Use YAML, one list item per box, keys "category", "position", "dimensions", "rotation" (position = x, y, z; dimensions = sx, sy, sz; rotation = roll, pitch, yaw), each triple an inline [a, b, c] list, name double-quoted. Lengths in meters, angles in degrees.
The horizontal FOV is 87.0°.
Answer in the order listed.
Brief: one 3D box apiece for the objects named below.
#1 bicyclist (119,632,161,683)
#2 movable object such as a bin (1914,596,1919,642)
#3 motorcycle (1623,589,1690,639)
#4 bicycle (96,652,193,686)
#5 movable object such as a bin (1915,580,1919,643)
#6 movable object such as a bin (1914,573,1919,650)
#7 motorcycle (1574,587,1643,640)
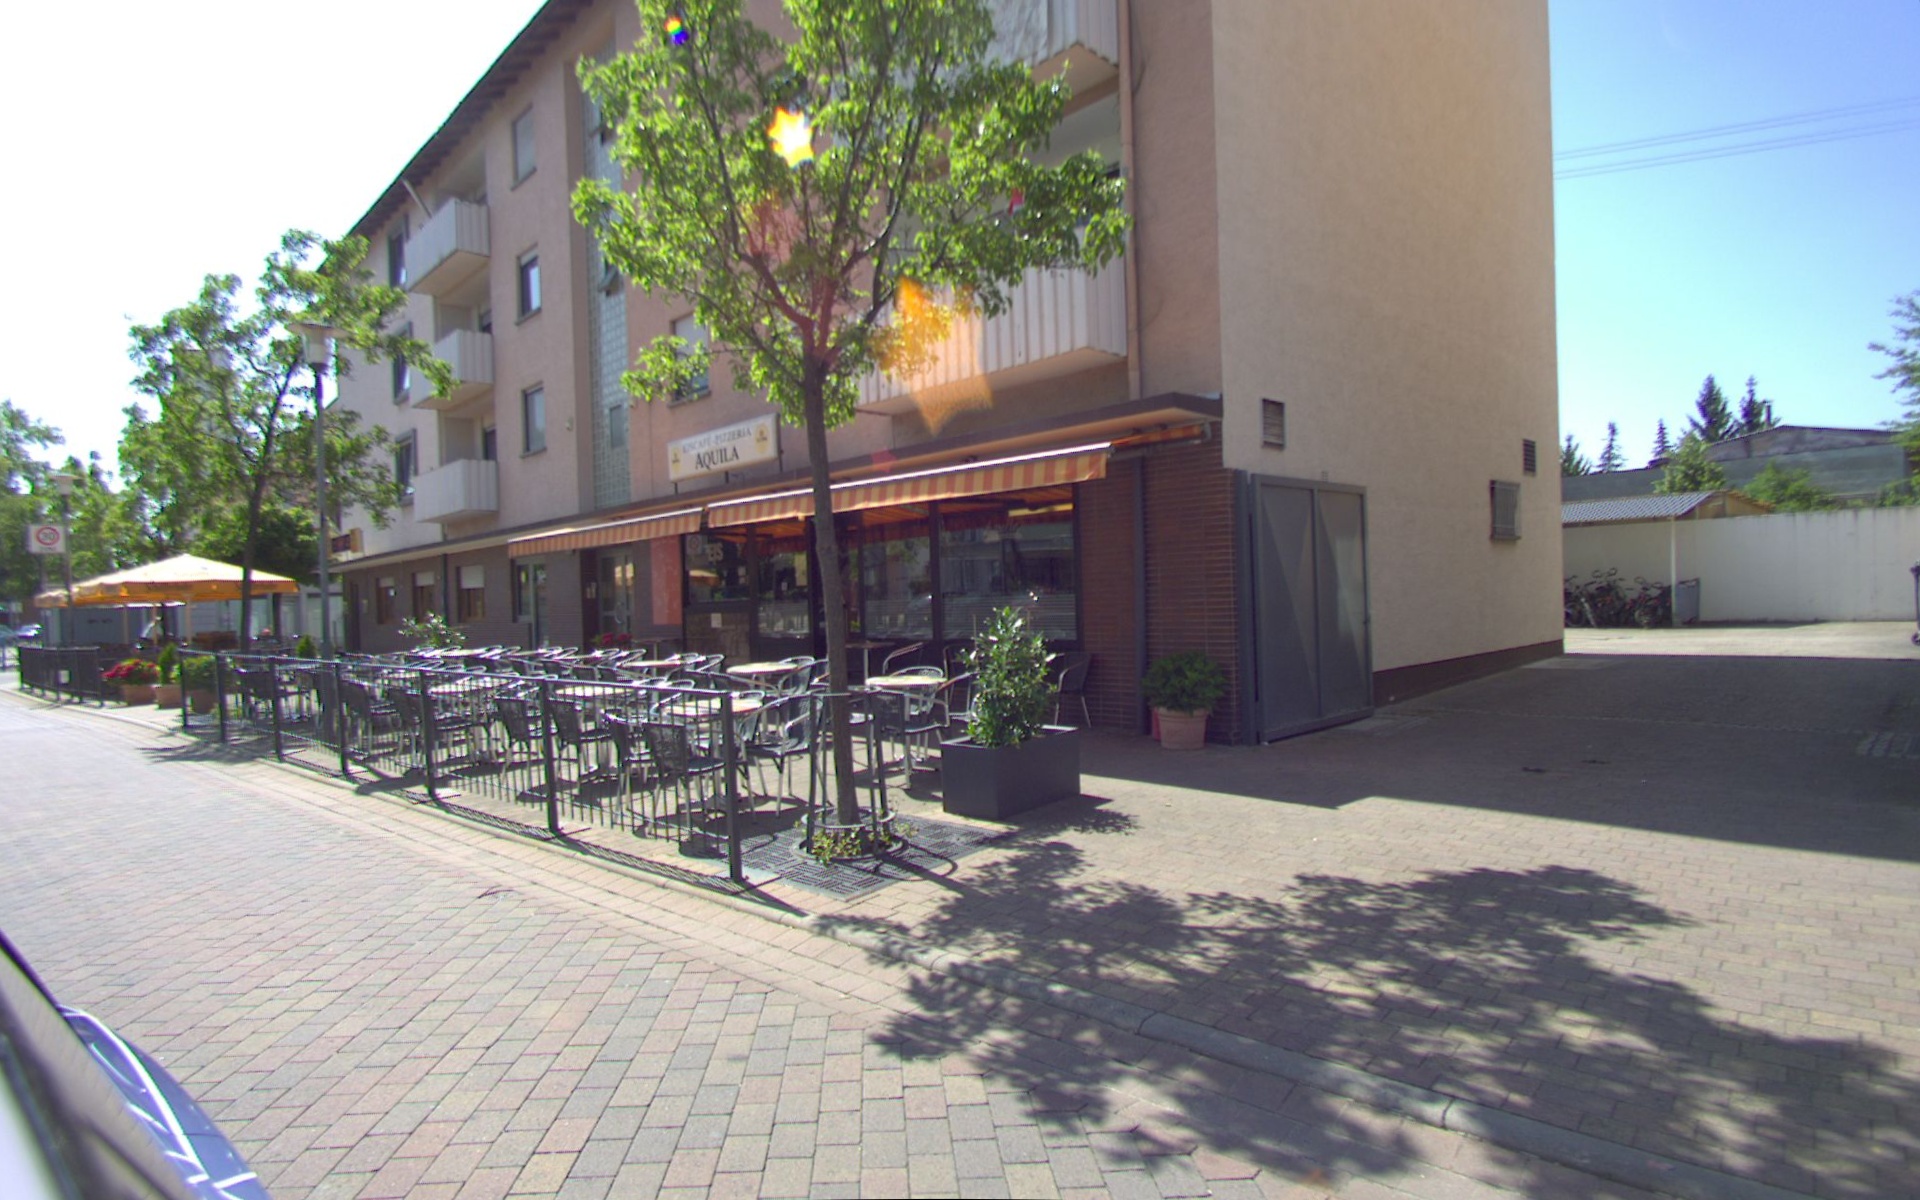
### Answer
- category: "bicyclist"
  position: [-26.494, 1.858, 32.699]
  dimensions: [0.786, 1.589, 0.850]
  rotation: [-2, 0, 35]
- category: "movable object such as a bin"
  position: [19.124, 0.369, 19.777]
  dimensions: [0.561, 0.883, 0.623]
  rotation: [-1, 0, -41]
- category: "motorcycle"
  position: [16.608, 0.318, 24.106]
  dimensions: [2.187, 1.117, 0.810]
  rotation: [-2, 0, -42]
- category: "bicycle"
  position: [-26.402, 2.216, 32.798]
  dimensions: [0.773, 0.932, 2.315]
  rotation: [-2, 0, 36]
- category: "movable object such as a bin"
  position: [18.406, 0.207, 18.923]
  dimensions: [0.684, 1.175, 0.711]
  rotation: [-1, 0, -41]
- category: "movable object such as a bin"
  position: [16.697, 0.184, 17.127]
  dimensions: [0.684, 1.305, 0.711]
  rotation: [-1, 0, -41]
- category: "motorcycle"
  position: [15.953, 0.310, 24.856]
  dimensions: [2.334, 1.218, 0.826]
  rotation: [-2, 0, -42]
